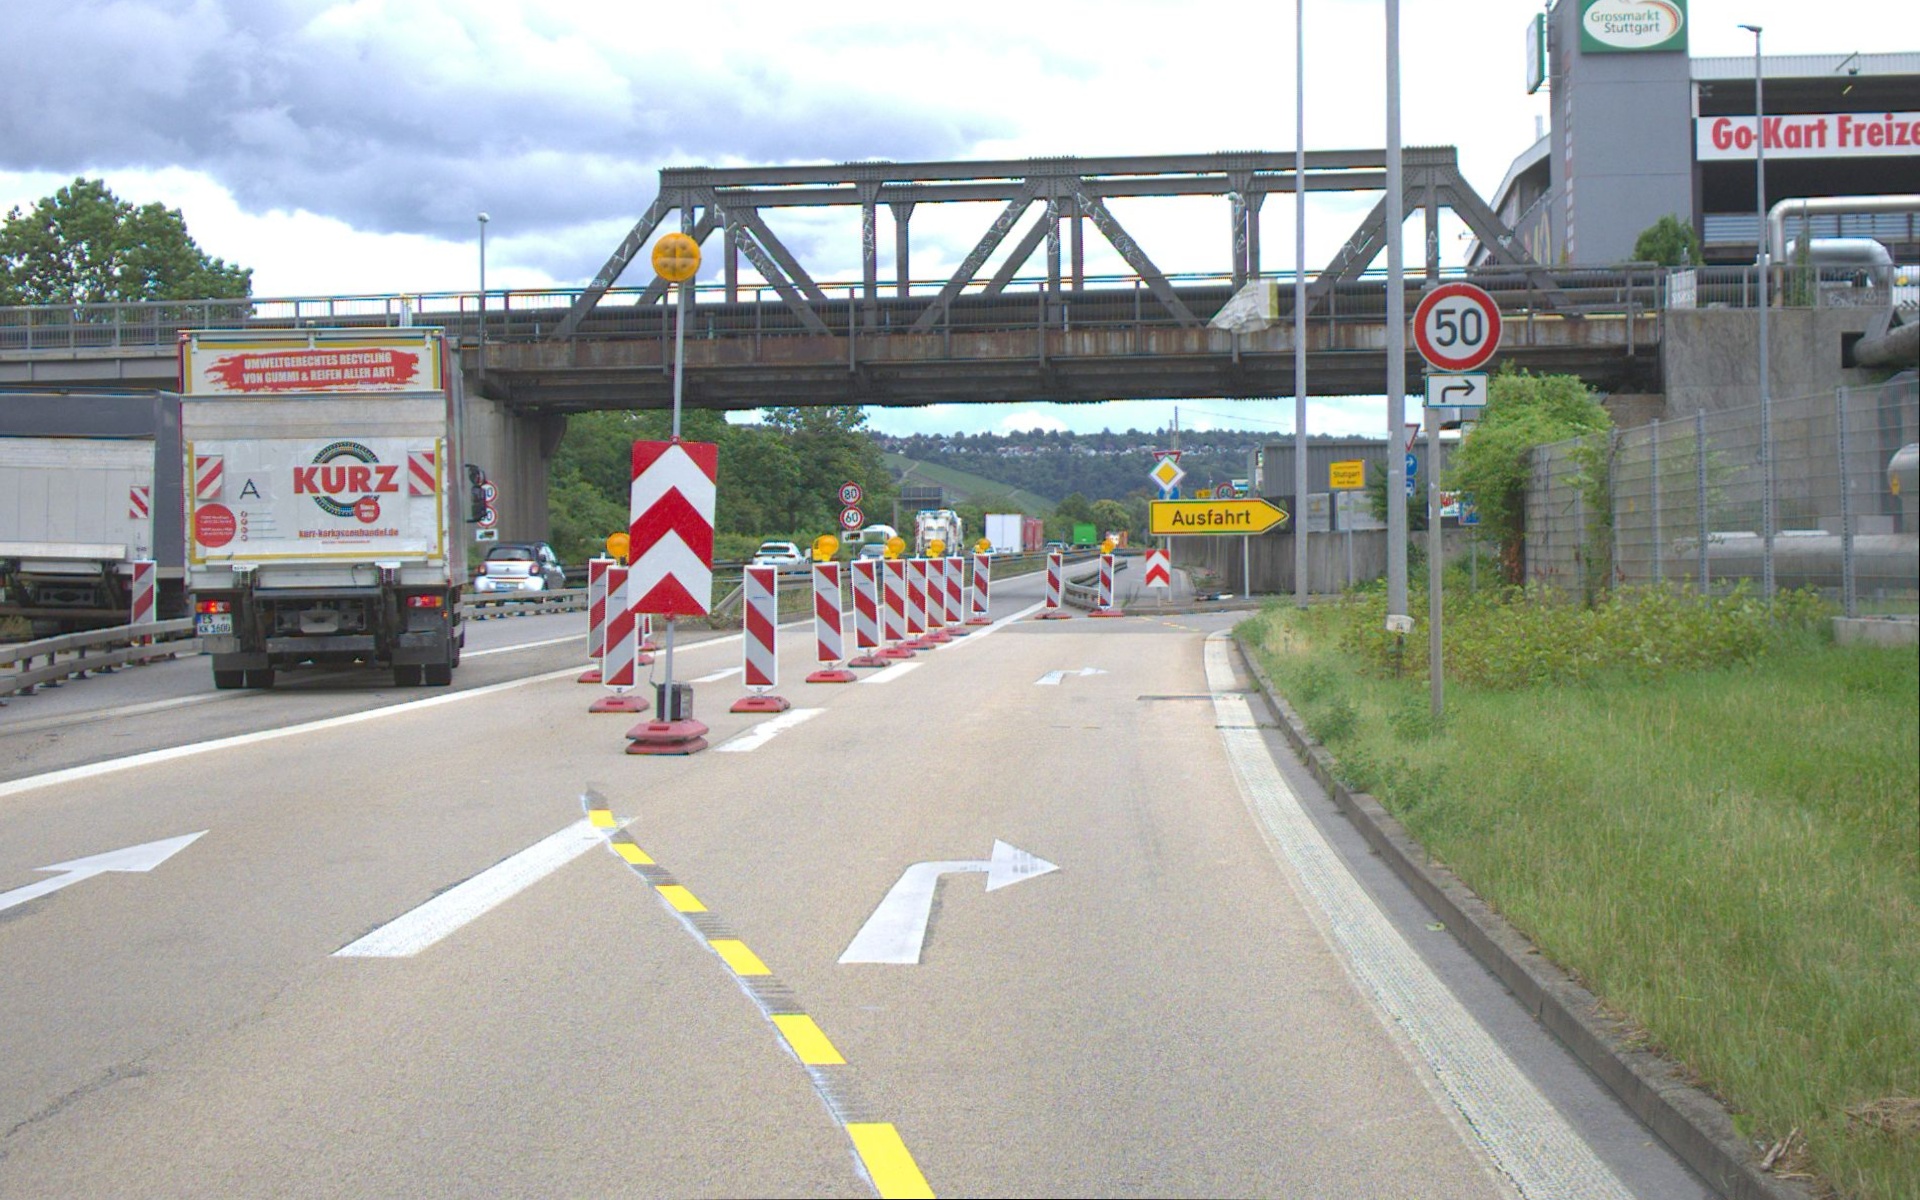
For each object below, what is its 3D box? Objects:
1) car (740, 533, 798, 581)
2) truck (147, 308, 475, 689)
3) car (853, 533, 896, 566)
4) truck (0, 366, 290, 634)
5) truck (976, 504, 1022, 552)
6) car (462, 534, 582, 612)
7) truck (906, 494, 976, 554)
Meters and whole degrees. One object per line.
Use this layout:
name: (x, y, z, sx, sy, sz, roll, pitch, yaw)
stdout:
car: (-7.222, -1.641, 130.168, 1.993, 1.809, 4.000, 0, 1, 0)
truck: (-6.894, -1.002, 37.841, 2.952, 3.617, 10.156, 0, 0, -7)
car: (-4.236, -2.517, 170.860, 1.780, 1.590, 3.749, 0, 1, 4)
truck: (-12.090, -1.360, 49.908, 2.994, 3.544, 7.740, -1, 0, 1)
truck: (2.620, -4.870, 231.760, 2.682, 3.129, 6.131, 1, 1, 4)
car: (-10.238, -0.629, 80.620, 1.994, 1.753, 3.999, -1, 0, 5)
truck: (-1.135, -4.684, 212.274, 3.720, 3.633, 7.727, 0, 1, 4)
